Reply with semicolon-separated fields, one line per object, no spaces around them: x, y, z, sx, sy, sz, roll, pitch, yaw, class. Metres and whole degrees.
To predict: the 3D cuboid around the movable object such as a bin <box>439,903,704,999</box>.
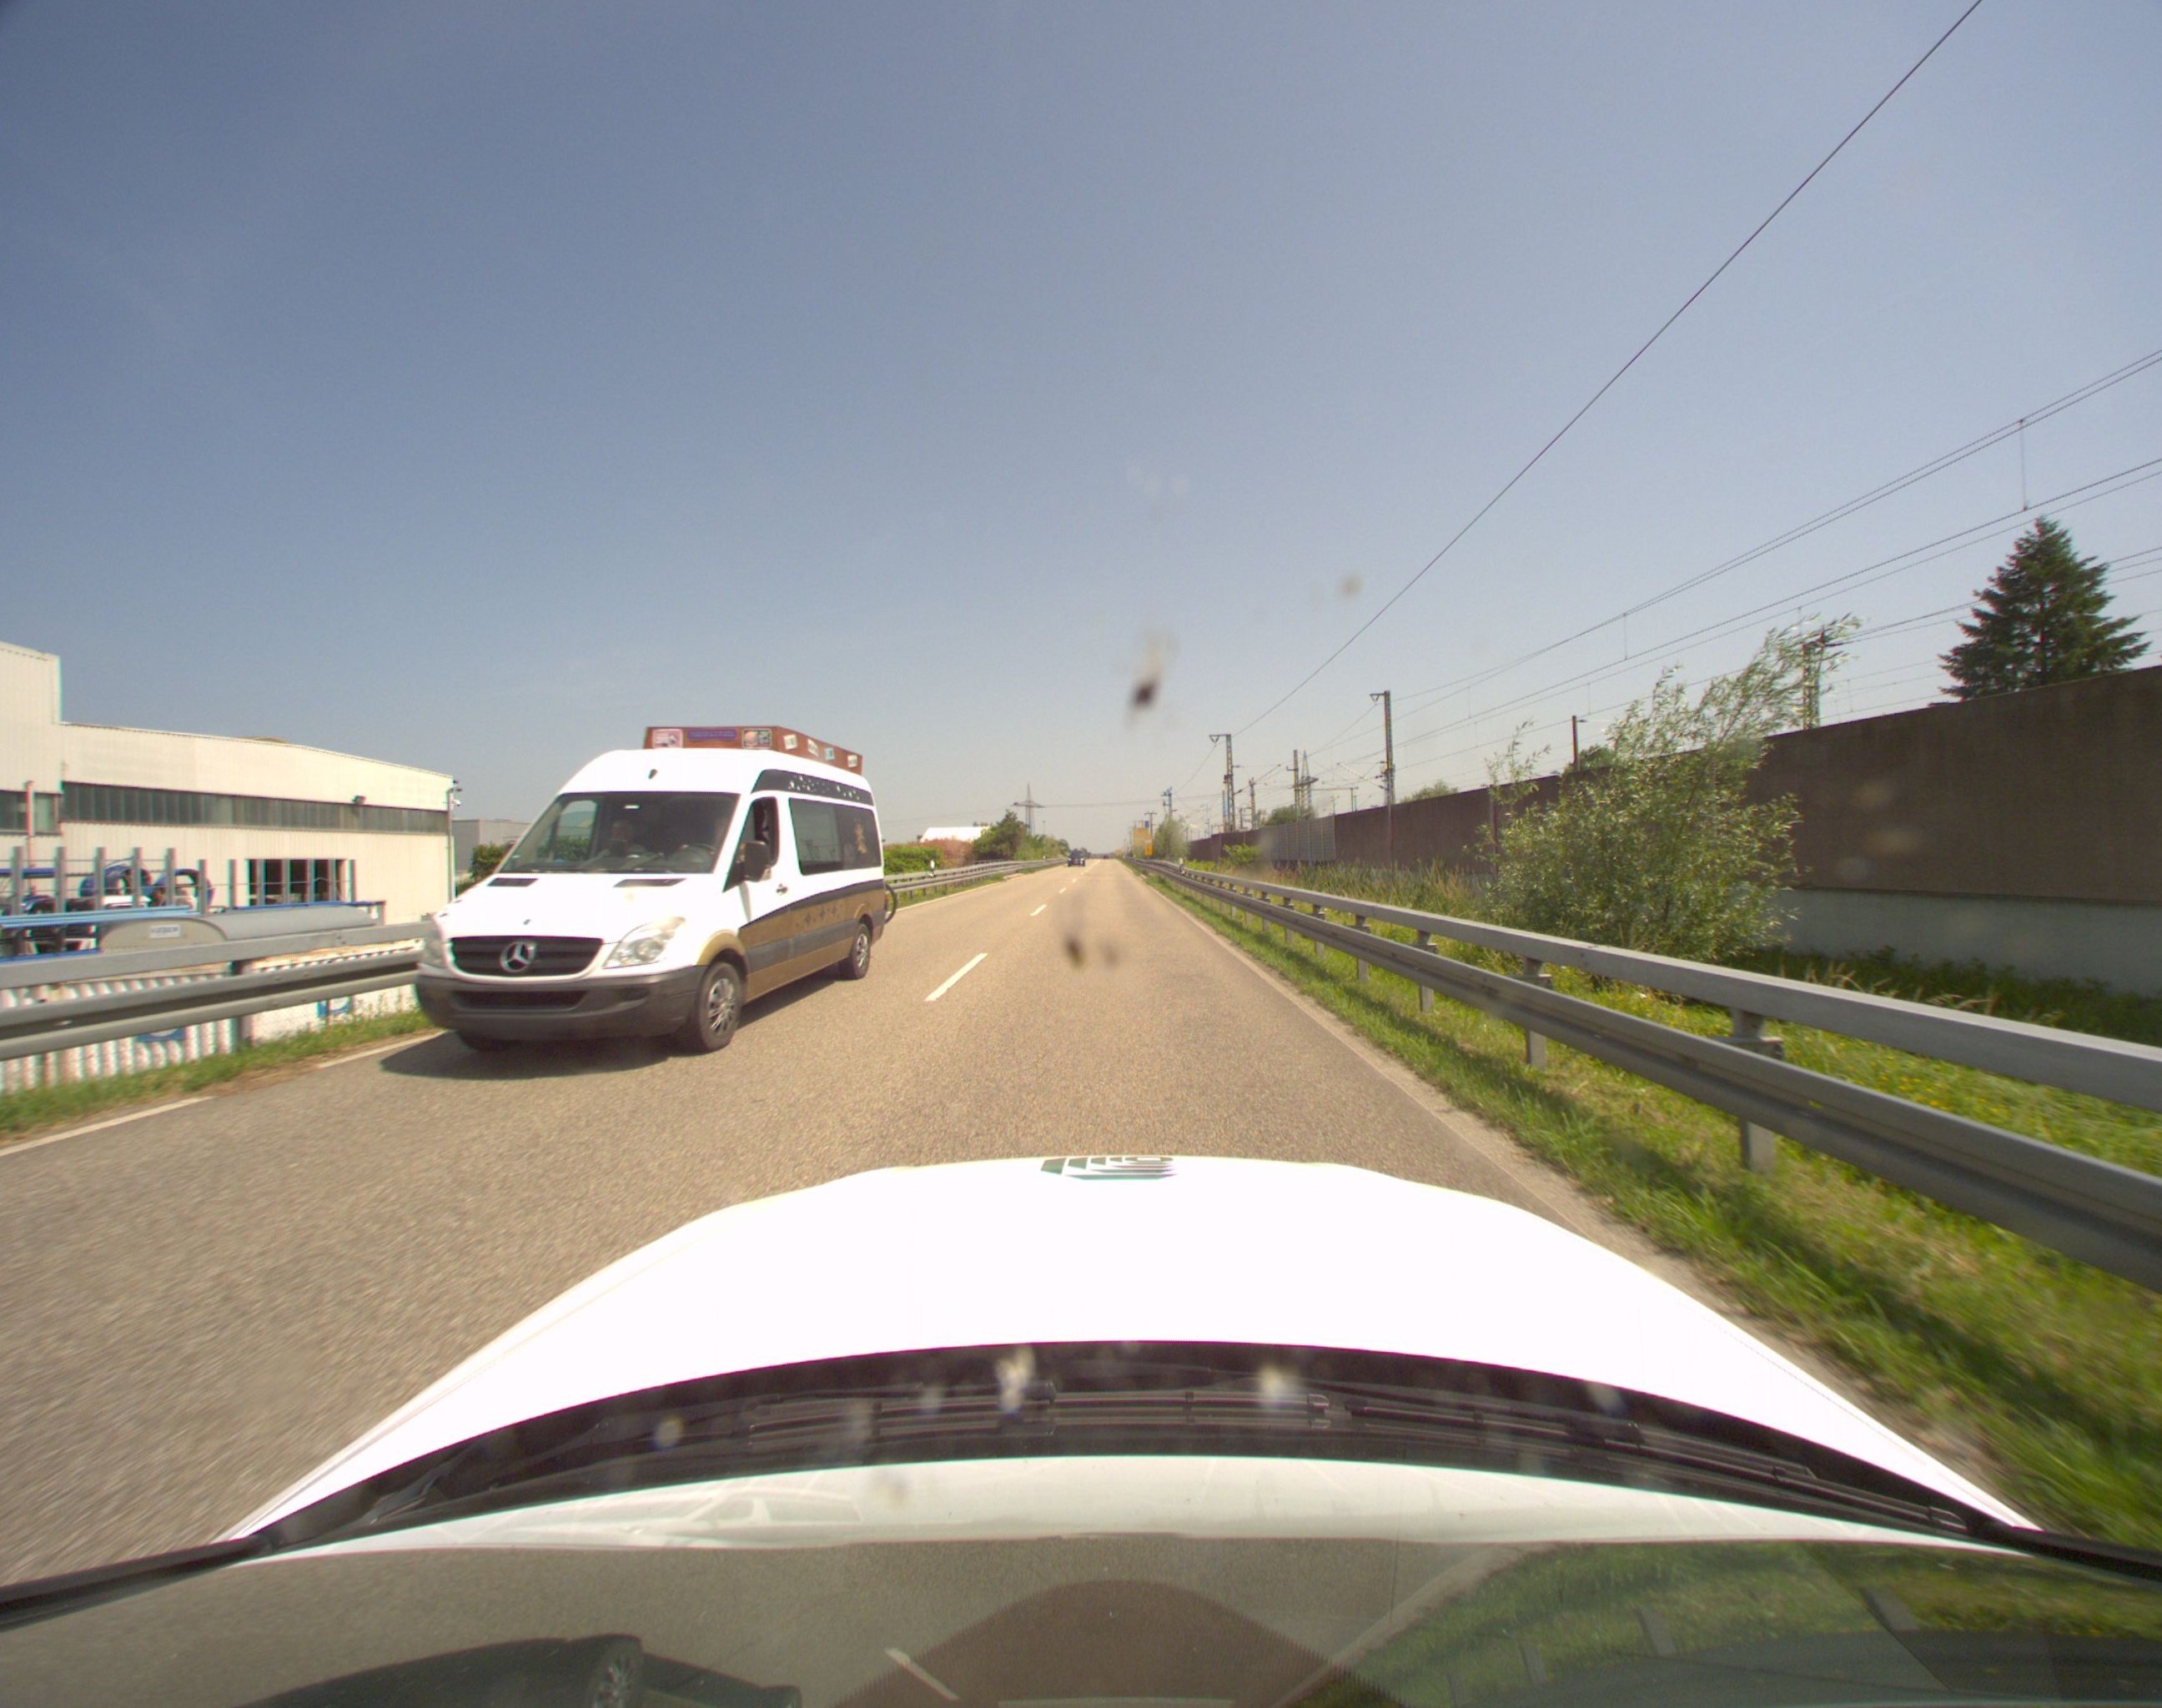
-14.520;2.720;23.580;5.884;2.019;2.446;-4;0;-4;movable object such as a bin

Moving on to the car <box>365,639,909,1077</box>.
-3.726;0.025;8.896;2.071;2.962;6.732;0;0;2;car

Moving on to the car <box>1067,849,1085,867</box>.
-0.581;0.447;95.117;1.886;2.013;5.371;0;0;1;car

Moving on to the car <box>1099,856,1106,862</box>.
6.906;1.550;260.143;1.988;2.013;3.997;0;0;-2;car
